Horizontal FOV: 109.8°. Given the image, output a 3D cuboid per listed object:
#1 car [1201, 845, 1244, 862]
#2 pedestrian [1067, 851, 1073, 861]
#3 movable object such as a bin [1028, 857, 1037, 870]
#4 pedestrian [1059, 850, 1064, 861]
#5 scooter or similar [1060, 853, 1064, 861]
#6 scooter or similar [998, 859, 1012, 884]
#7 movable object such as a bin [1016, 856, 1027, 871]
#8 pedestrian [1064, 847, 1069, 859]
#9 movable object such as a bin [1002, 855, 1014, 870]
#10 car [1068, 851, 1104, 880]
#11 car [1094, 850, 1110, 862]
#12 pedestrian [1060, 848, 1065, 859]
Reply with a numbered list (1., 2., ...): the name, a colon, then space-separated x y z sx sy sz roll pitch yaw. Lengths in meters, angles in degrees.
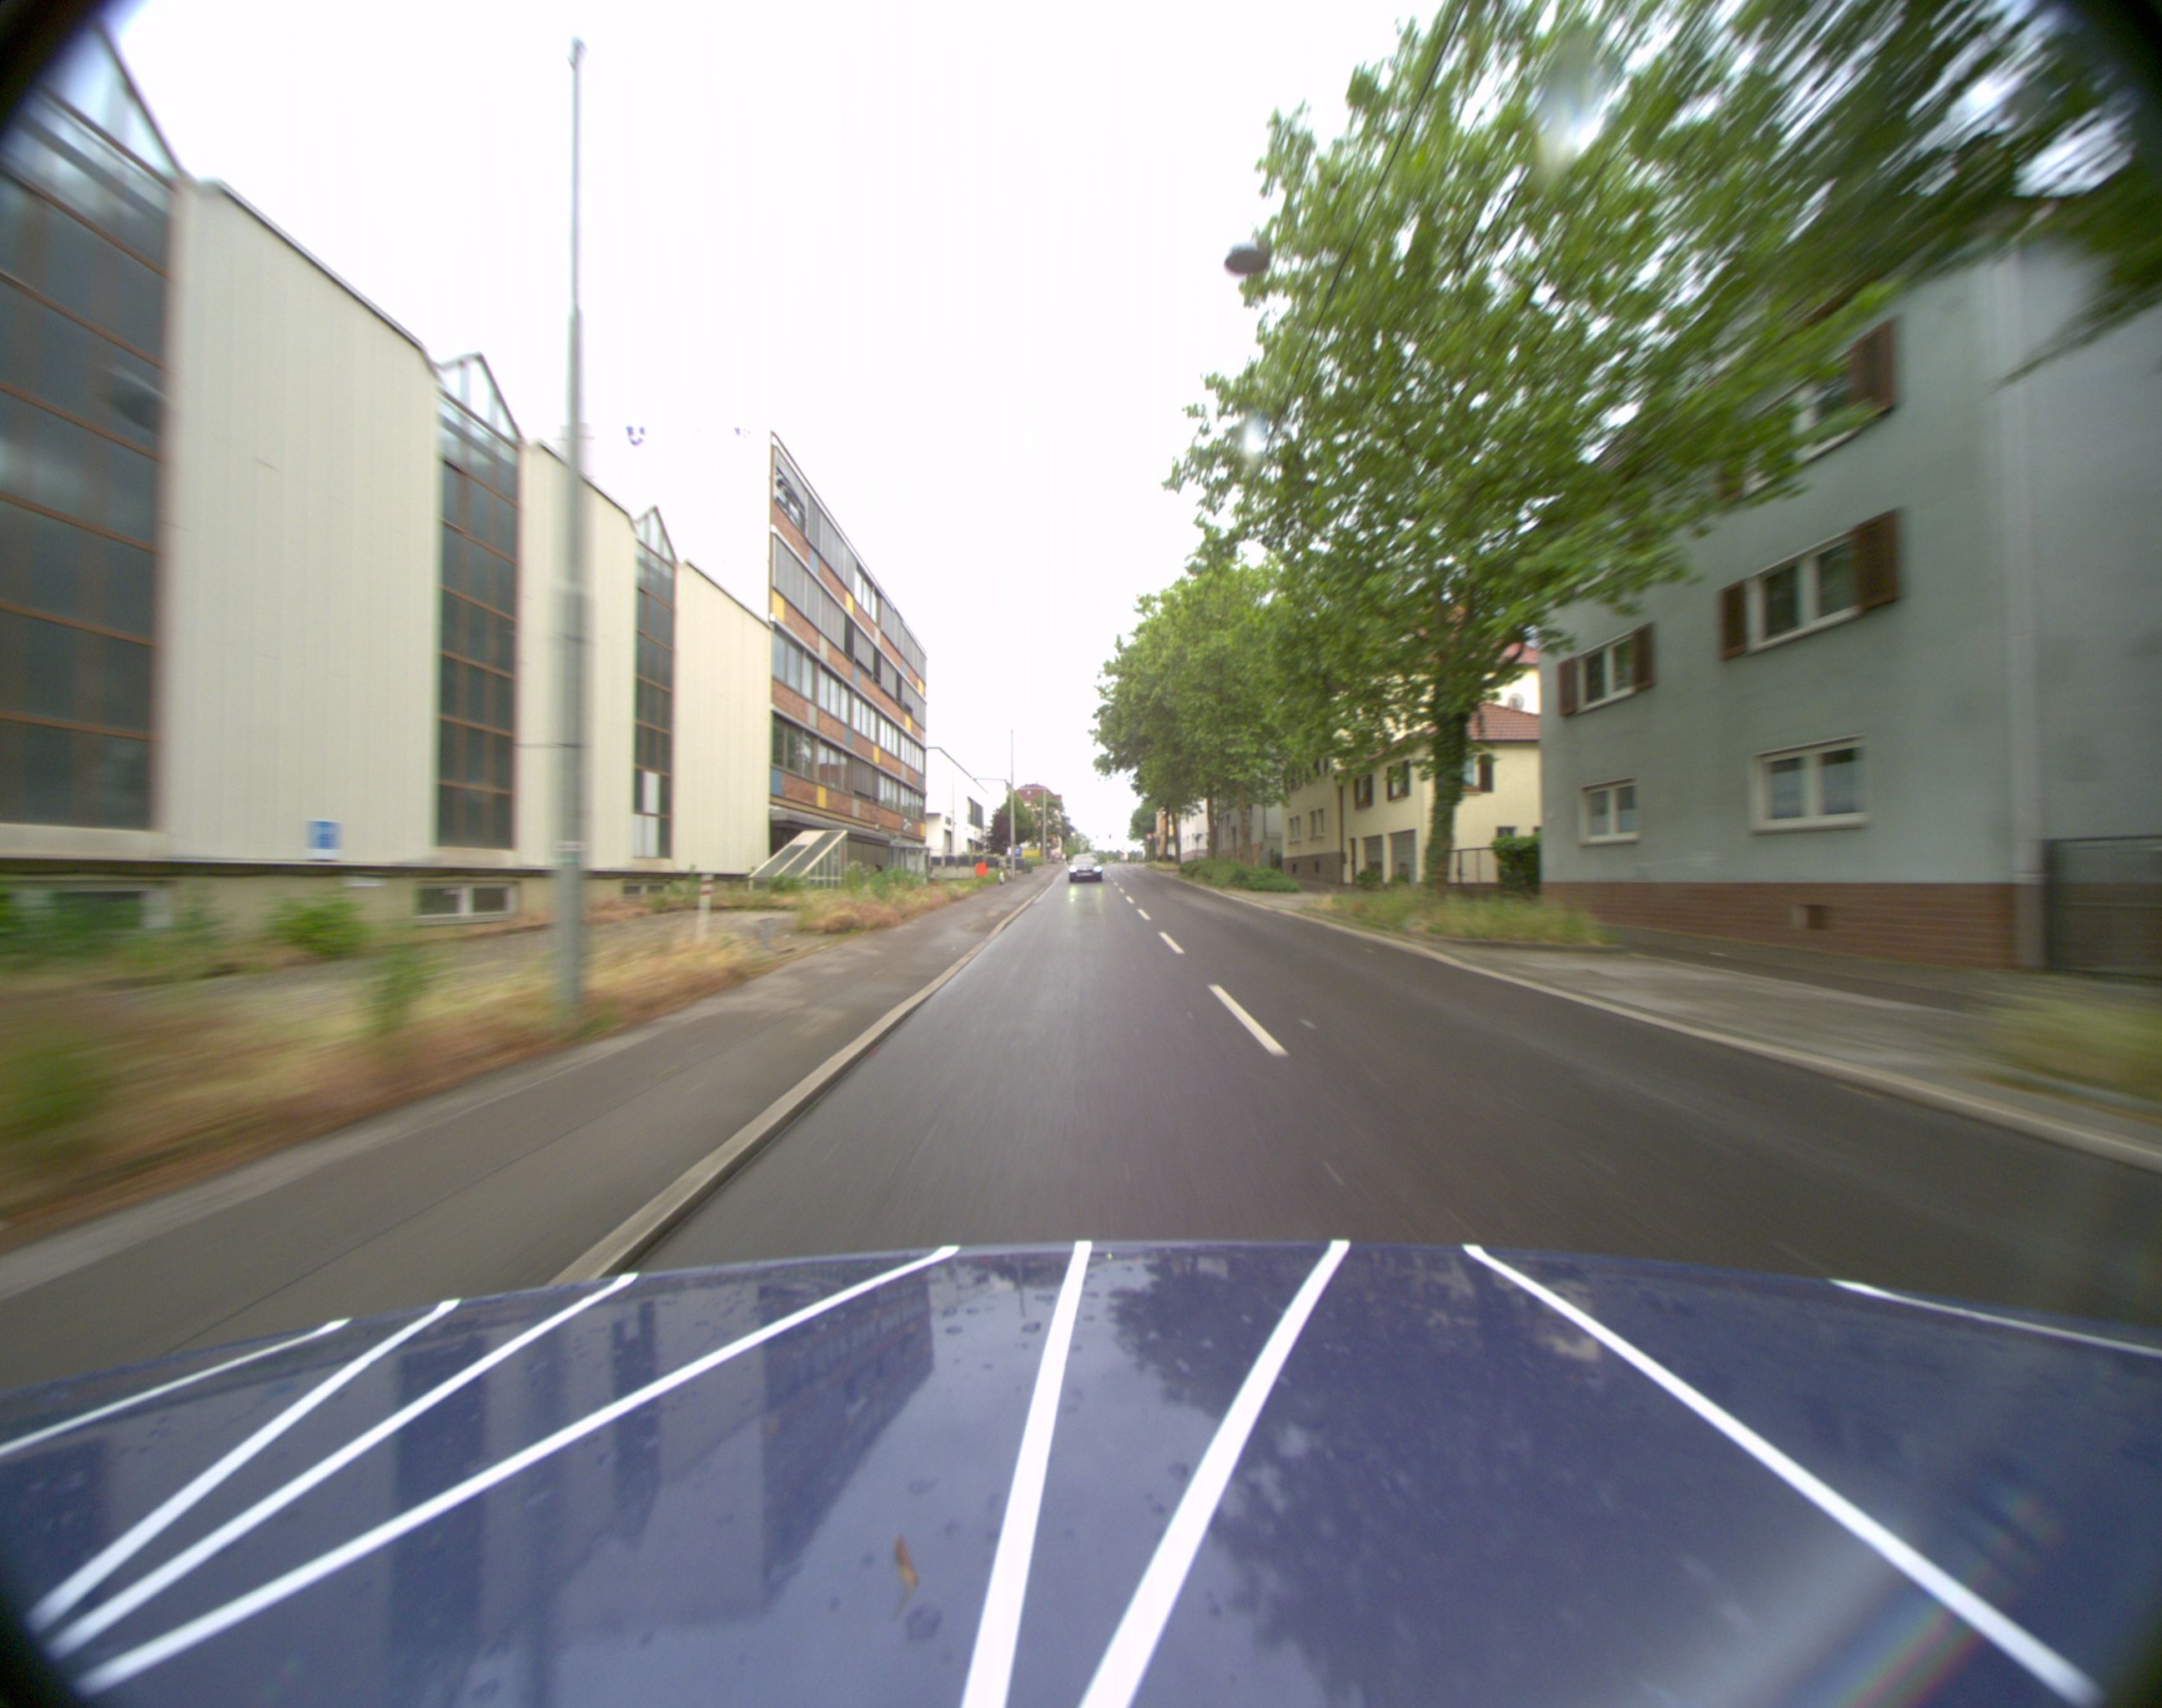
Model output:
1. car: 14.466 -0.092 77.842 3.997 1.444 2.000 -4 0 0
2. pedestrian: -1.692 0.314 119.781 0.637 1.700 0.747 2 0 -33
3. movable object such as a bin: -3.548 0.718 55.534 0.621 0.931 0.686 2 1 2
4. pedestrian: -2.936 0.201 116.311 0.662 1.731 0.829 1 0 -4
5. scooter or similar: -2.875 0.480 115.693 0.619 1.133 0.567 1 0 -4
6. scooter or similar: -3.669 0.814 36.632 0.607 1.155 1.699 -1 1 -4
7. movable object such as a bin: -4.340 0.684 55.391 0.696 1.076 0.778 2 1 2
8. pedestrian: -2.265 -0.120 119.525 0.634 1.864 0.486 2 0 -38
9. movable object such as a bin: -5.321 0.640 55.358 0.696 1.076 0.778 2 1 2
10. car: 0.314 0.690 42.006 1.837 1.429 4.002 -1 -3 2
11. car: 2.467 0.214 87.916 1.837 1.430 4.000 0 0 3
12. pedestrian: -2.859 -0.065 119.087 0.446 1.698 0.558 2 0 34
